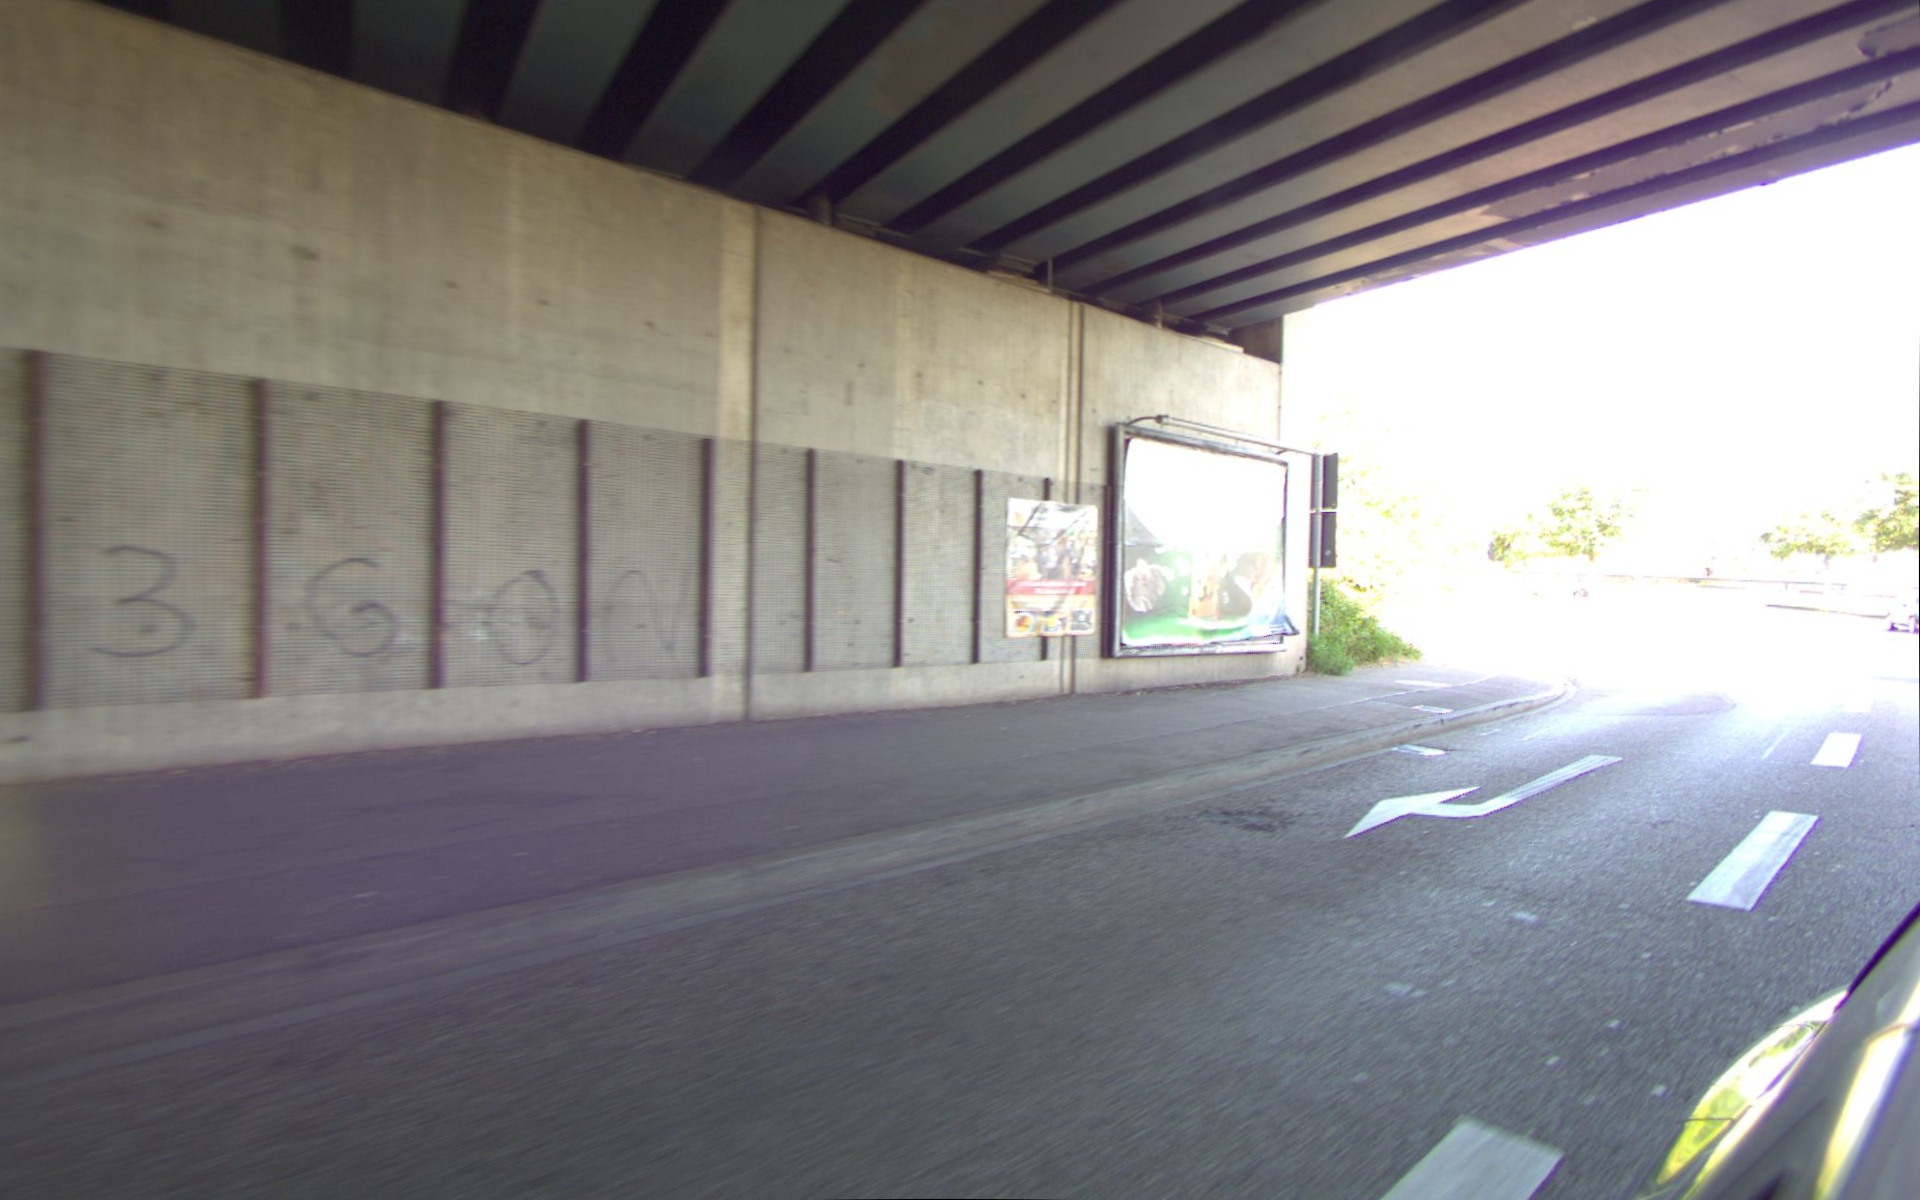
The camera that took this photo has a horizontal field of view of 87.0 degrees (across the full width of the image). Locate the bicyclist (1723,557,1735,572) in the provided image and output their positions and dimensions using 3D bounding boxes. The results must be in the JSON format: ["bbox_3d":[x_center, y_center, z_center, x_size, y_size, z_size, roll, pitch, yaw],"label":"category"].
[{"bbox_3d":[72.423,-3.345,95.310,0.584,1.445,0.707,-1,1,9],"label":"bicyclist"}]

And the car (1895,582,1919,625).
[{"bbox_3d":[35.007,0.116,35.999,1.844,1.498,4.181,1,1,33],"label":"car"}]

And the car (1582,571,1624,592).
[{"bbox_3d":[49.840,-1.440,78.509,1.826,1.501,3.956,1,0,19],"label":"car"}]

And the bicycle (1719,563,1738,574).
[{"bbox_3d":[72.428,-2.931,95.370,0.583,1.036,1.747,-1,1,7],"label":"bicycle"}]
